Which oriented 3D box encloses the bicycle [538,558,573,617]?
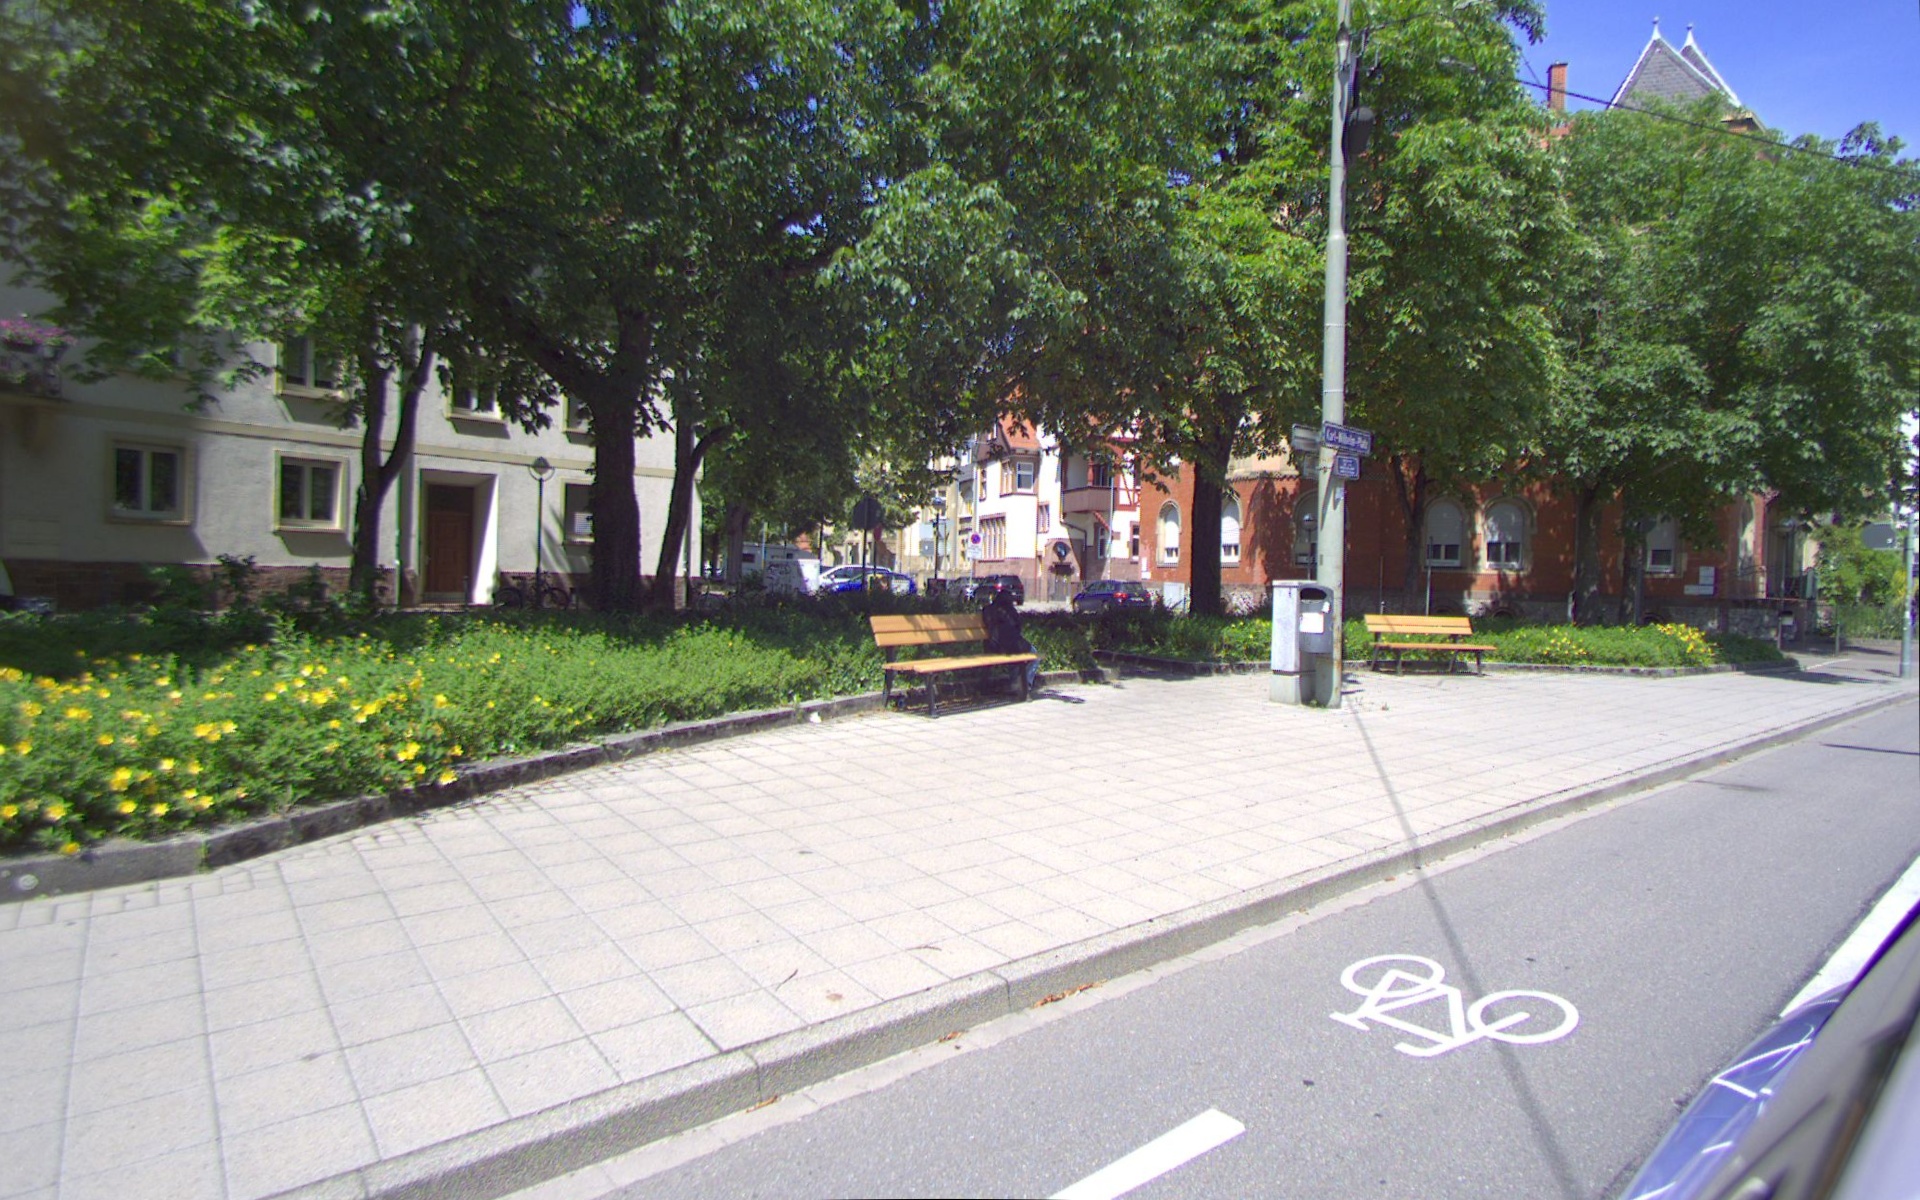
[{"bbox_3d":[-9.602,-0.310,23.988,0.536,1.316,2.162,0,1,-28],"label":"bicycle"}]

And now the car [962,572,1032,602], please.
[{"bbox_3d":[1.910,-0.718,54.518,1.946,1.551,5.503,0,1,-19],"label":"car"}]

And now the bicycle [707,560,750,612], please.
[{"bbox_3d":[-6.116,-0.390,26.674,0.536,1.316,2.162,0,1,-28],"label":"bicycle"}]

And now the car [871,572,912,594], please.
[{"bbox_3d":[-5.074,-1.292,74.494,1.865,1.575,4.411,0,1,-21],"label":"car"}]

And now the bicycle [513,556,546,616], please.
[{"bbox_3d":[-10.224,-0.351,23.999,0.505,1.364,2.247,0,1,-28],"label":"bicycle"}]

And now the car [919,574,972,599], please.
[{"bbox_3d":[-0.931,-0.884,63.537,1.865,1.482,4.626,0,1,-21],"label":"car"}]

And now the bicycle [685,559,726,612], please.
[{"bbox_3d":[-6.646,-0.387,26.371,0.536,1.316,2.162,0,1,-28],"label":"bicycle"}]

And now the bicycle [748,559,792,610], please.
[{"bbox_3d":[-5.111,-0.418,27.087,0.536,1.316,2.162,0,1,-28],"label":"bicycle"}]

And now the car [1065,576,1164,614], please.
[{"bbox_3d":[6.194,-0.235,41.221,1.865,1.459,4.769,0,1,-21],"label":"car"}]

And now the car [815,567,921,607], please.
[{"bbox_3d":[-3.625,-0.504,39.990,3.807,1.447,1.731,2,0,-21],"label":"car"}]

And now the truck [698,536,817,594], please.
[{"bbox_3d":[-12.100,-2.057,60.619,6.685,3.193,1.939,2,0,-19],"label":"truck"}]

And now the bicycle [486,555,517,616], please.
[{"bbox_3d":[-10.770,-0.343,23.747,0.505,1.361,2.332,0,1,-28],"label":"bicycle"}]

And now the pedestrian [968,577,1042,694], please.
[{"bbox_3d":[0.446,0.343,10.056,0.469,1.105,0.511,2,2,-34],"label":"pedestrian"}]

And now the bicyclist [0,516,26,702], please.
[{"bbox_3d":[-9.680,0.086,9.943,0.596,1.822,0.531,1,1,21],"label":"bicyclist"}]

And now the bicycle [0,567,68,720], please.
[{"bbox_3d":[-9.866,0.428,9.563,0.586,1.504,2.153,1,1,20],"label":"bicycle"}]

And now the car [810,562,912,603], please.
[{"bbox_3d":[-4.418,-0.761,45.204,4.176,1.673,1.731,2,0,-21],"label":"car"}]
